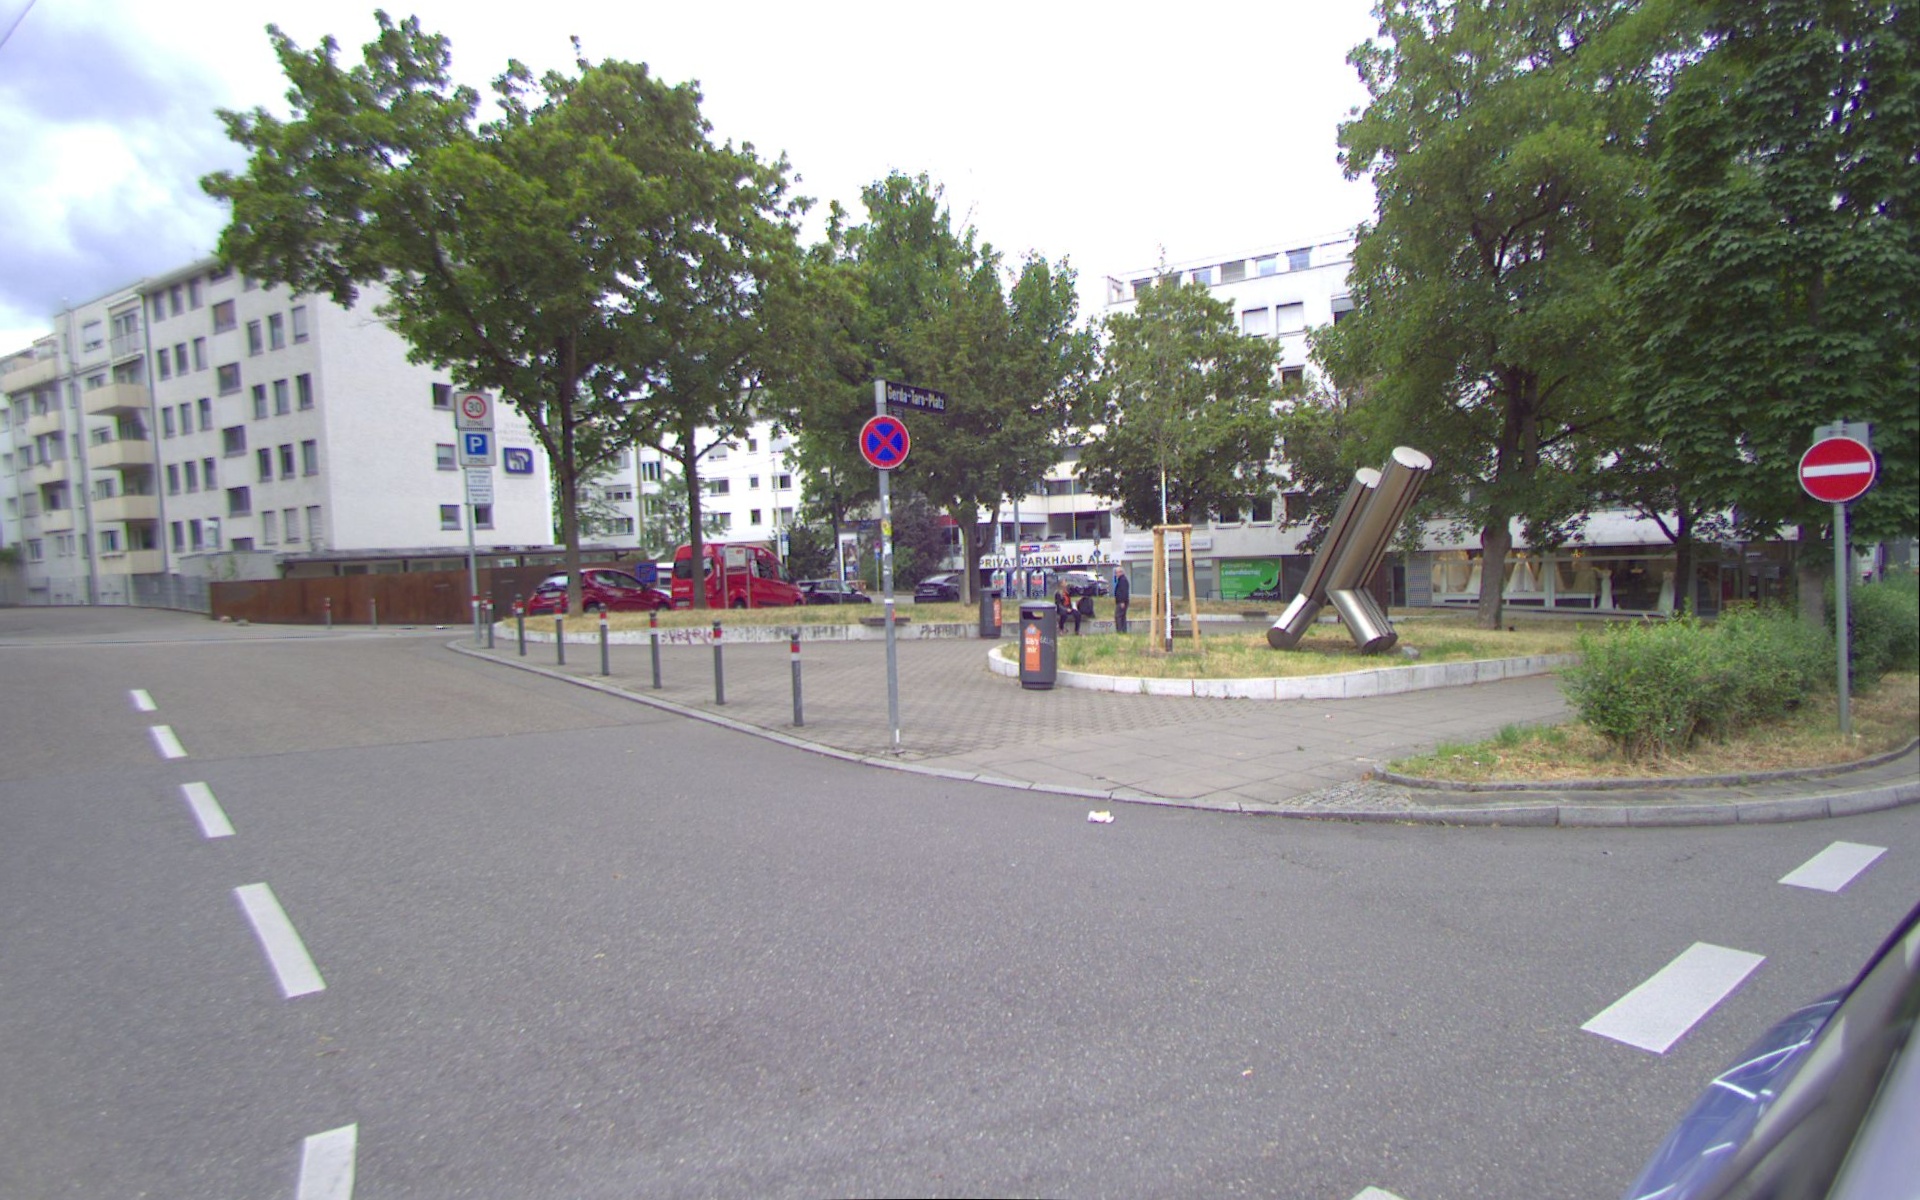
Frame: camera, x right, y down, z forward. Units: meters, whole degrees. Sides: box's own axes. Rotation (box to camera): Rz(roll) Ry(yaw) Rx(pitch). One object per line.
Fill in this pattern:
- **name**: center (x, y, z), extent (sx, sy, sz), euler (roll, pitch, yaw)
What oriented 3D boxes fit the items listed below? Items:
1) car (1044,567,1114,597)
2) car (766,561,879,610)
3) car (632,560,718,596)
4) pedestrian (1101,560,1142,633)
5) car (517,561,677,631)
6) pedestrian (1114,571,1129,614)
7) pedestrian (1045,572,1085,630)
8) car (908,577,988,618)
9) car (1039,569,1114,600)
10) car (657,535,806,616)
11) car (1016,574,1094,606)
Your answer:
- **car**: center (7.263, -1.081, 62.169), extent (3.978, 1.708, 1.666), euler (-2, -1, 39)
- **car**: center (-4.755, -0.524, 35.588), extent (1.978, 1.584, 4.381), euler (1, 1, 23)
- **car**: center (-15.401, -1.196, 54.609), extent (4.583, 1.901, 2.077), euler (1, 1, 36)
- **pedestrian**: center (3.682, -0.096, 23.027), extent (0.720, 1.622, 0.785), euler (1, 1, 27)
- **car**: center (-8.949, -0.131, 25.247), extent (1.729, 1.584, 3.688), euler (1, 1, 23)
- **pedestrian**: center (5.854, -0.283, 36.651), extent (0.520, 1.552, 0.672), euler (0, 1, 10)
- **pedestrian**: center (2.417, 0.006, 23.302), extent (0.671, 1.308, 0.657), euler (0, 1, -31)
- **car**: center (-0.482, -0.158, 46.556), extent (1.978, 1.762, 4.747), euler (1, 1, 23)
- **car**: center (6.871, -0.921, 59.709), extent (3.983, 1.738, 1.971), euler (2, 2, 41)
- **car**: center (-6.806, -0.736, 30.752), extent (2.102, 2.241, 4.859), euler (1, 1, 21)
- **car**: center (5.382, -0.584, 57.548), extent (3.983, 1.738, 1.971), euler (2, 2, 41)
